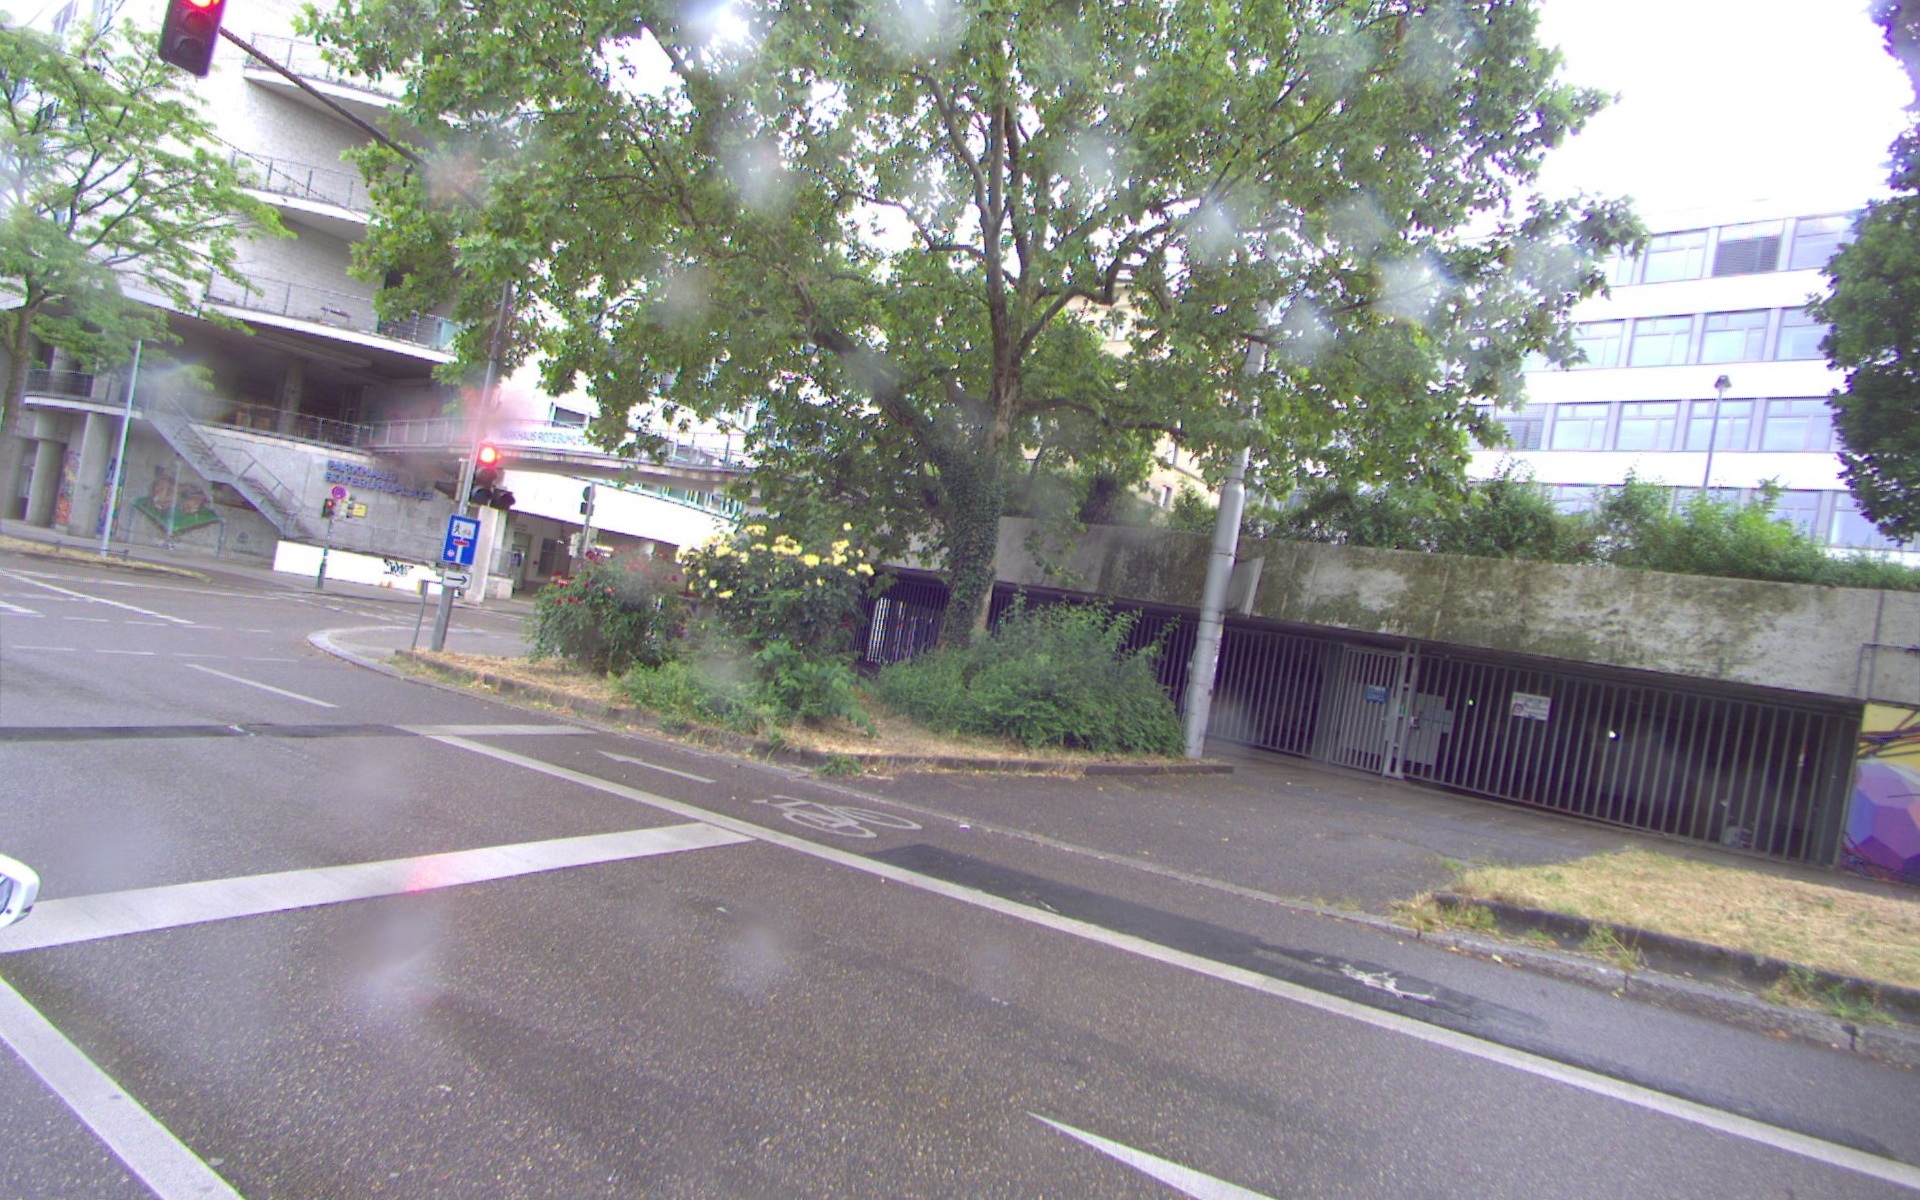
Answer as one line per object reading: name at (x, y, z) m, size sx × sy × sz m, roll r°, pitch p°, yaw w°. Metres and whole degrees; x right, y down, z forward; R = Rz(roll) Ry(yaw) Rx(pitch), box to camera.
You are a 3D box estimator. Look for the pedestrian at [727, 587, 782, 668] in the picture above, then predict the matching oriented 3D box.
pedestrian at (-5.224, 0.707, 25.610) m, size 0.745 × 1.932 × 0.847 m, roll 8°, pitch -1°, yaw 31°
